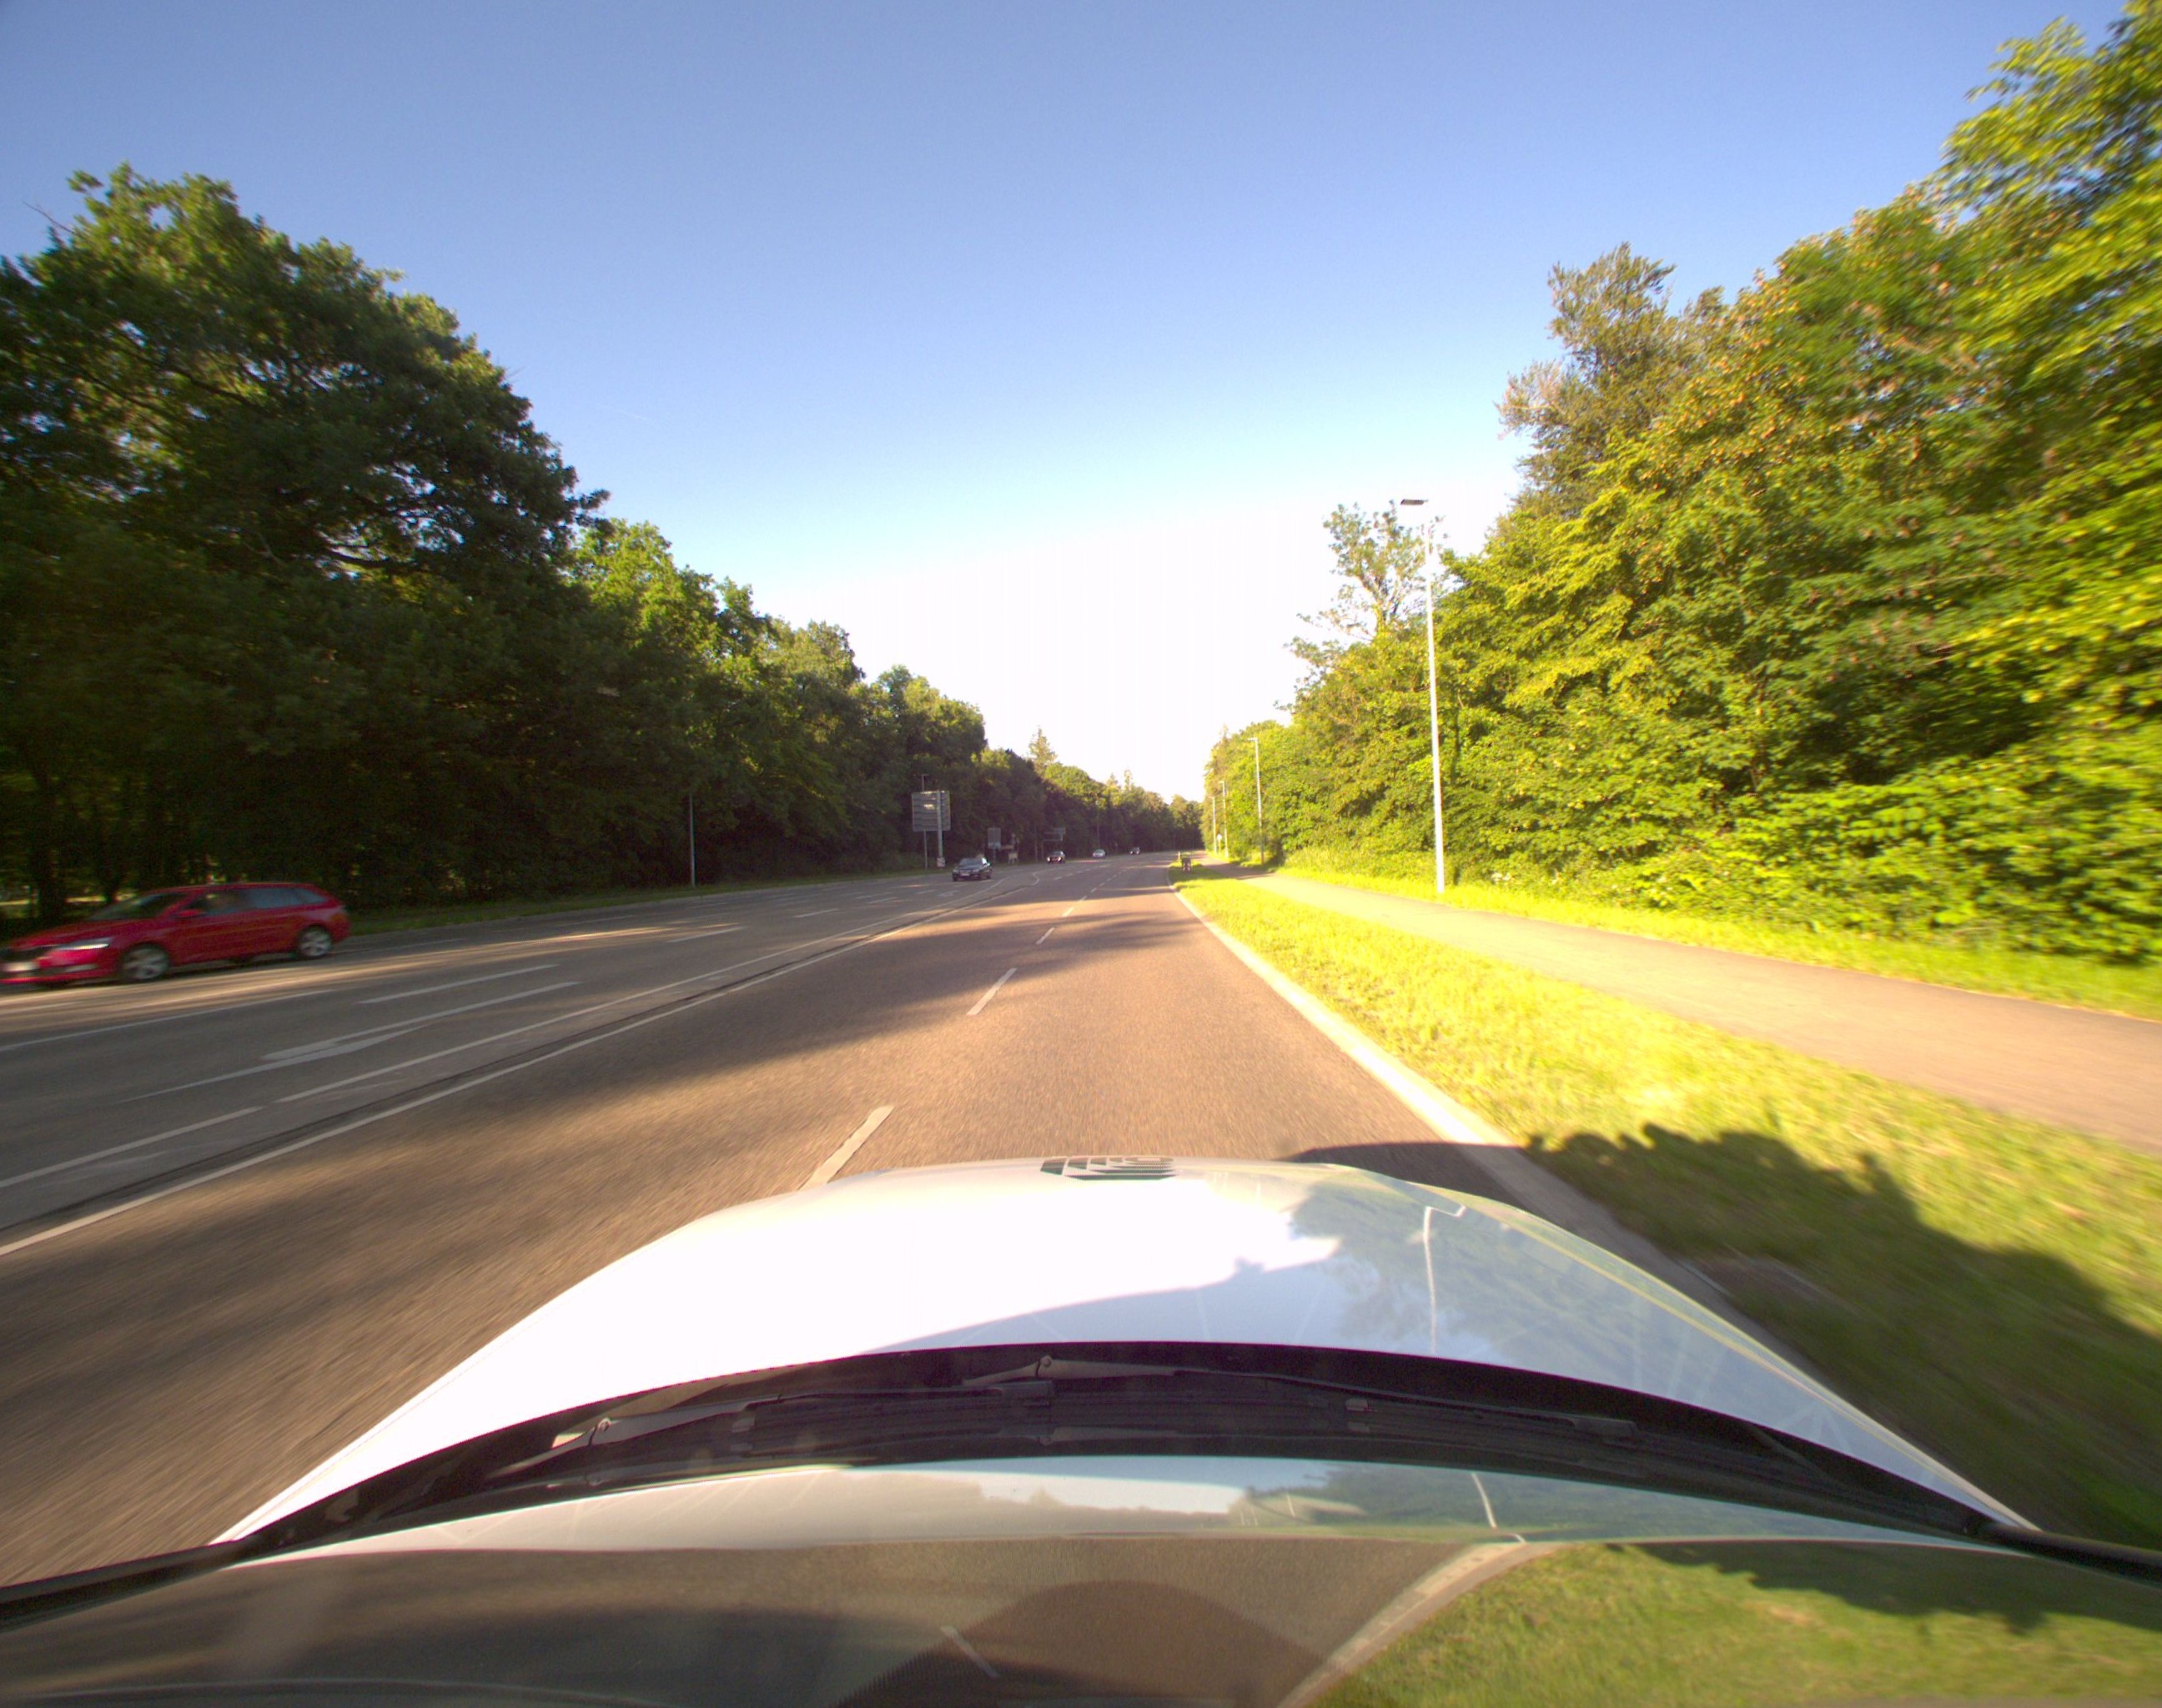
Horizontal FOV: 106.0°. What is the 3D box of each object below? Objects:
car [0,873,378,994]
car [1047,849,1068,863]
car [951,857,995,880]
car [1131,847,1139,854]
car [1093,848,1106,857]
[{"bbox_3d":[-14.991,1.208,13.917,1.986,1.564,4.341,-2,0,2],"label":"car"},{"bbox_3d":[-2.939,0.234,102.748,1.814,1.544,4.268,-2,0,9],"label":"car"},{"bbox_3d":[-6.421,0.832,48.918,1.737,1.234,4.676,-3,0,2],"label":"car"},{"bbox_3d":[13.097,-0.839,197.194,1.815,1.589,4.361,-2,0,8],"label":"car"},{"bbox_3d":[3.214,-0.201,143.658,1.815,1.504,4.316,-2,0,8],"label":"car"}]
